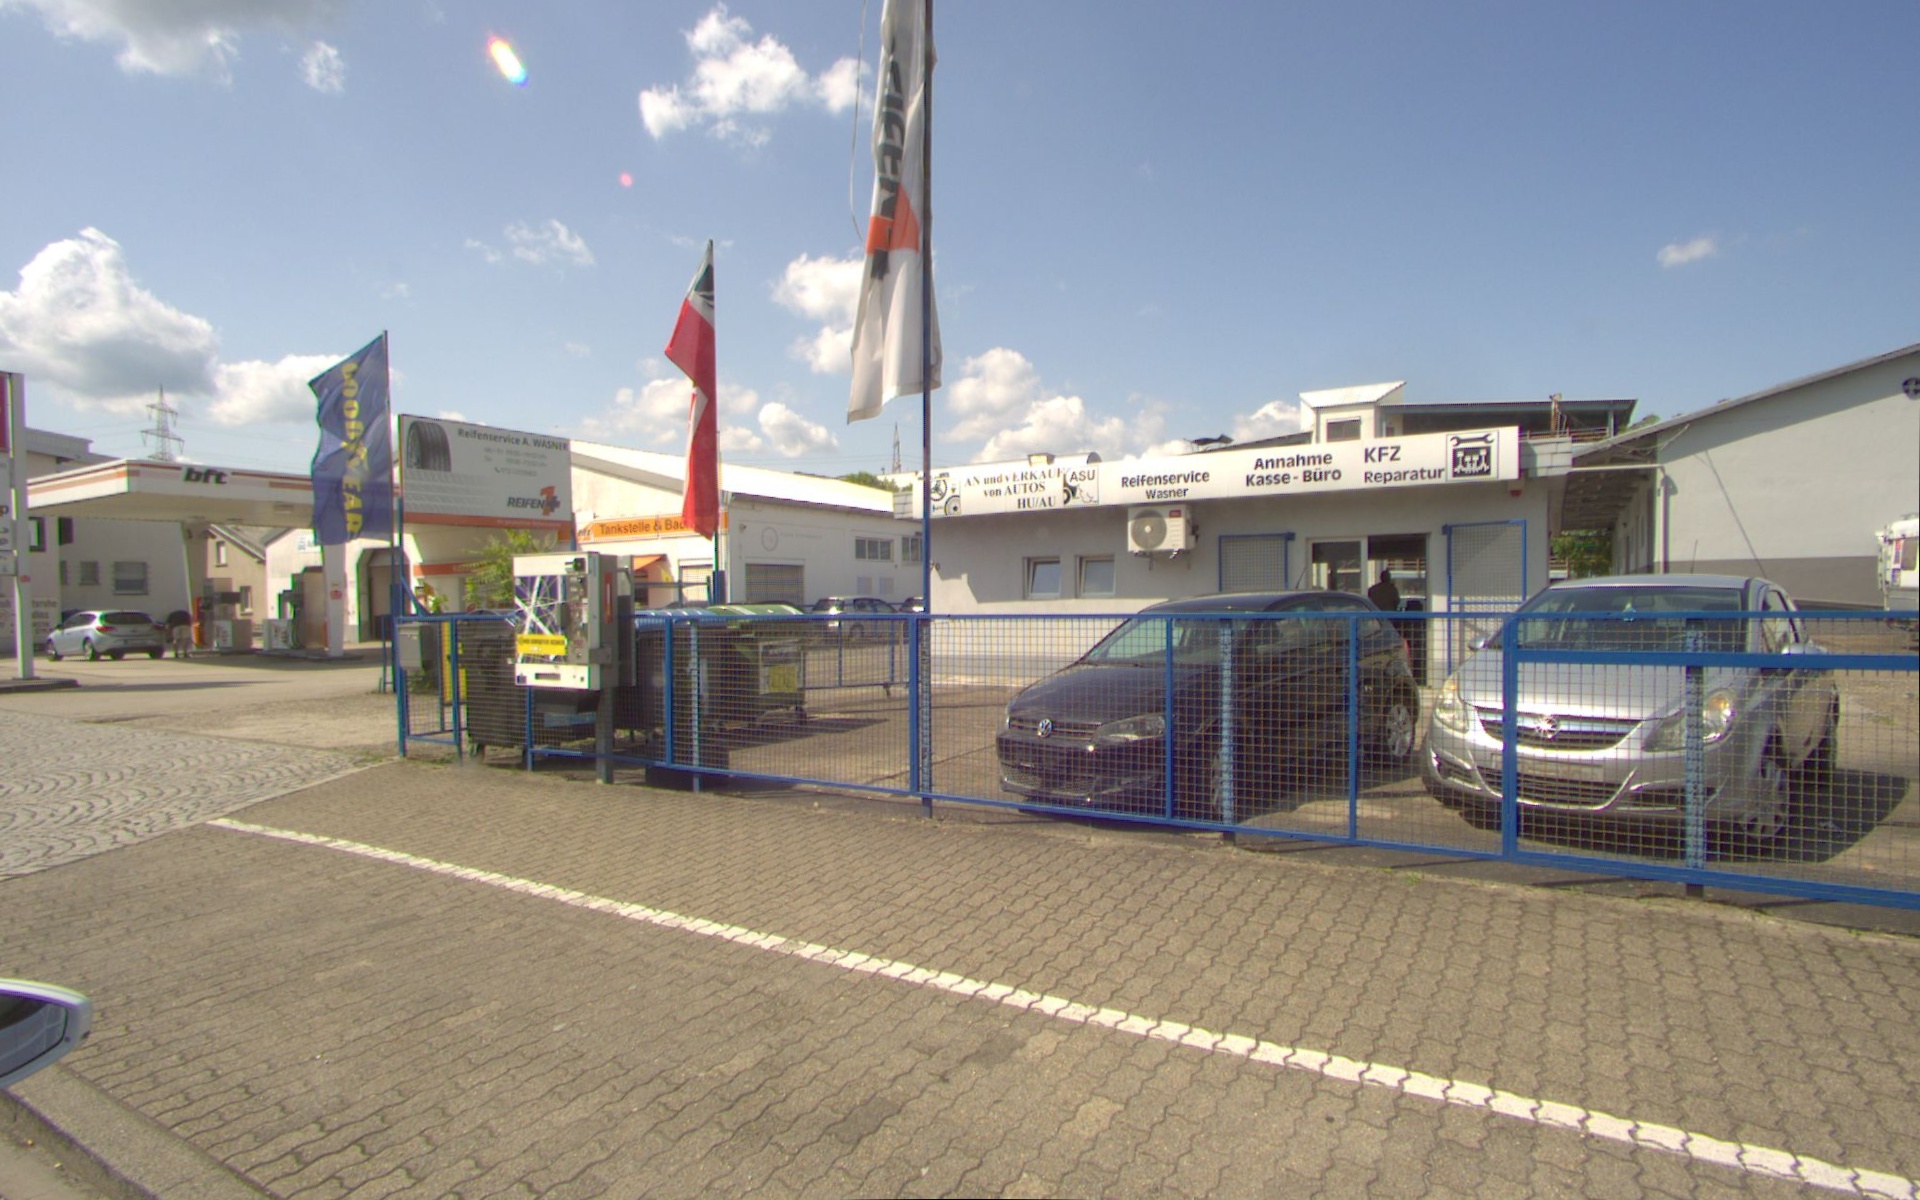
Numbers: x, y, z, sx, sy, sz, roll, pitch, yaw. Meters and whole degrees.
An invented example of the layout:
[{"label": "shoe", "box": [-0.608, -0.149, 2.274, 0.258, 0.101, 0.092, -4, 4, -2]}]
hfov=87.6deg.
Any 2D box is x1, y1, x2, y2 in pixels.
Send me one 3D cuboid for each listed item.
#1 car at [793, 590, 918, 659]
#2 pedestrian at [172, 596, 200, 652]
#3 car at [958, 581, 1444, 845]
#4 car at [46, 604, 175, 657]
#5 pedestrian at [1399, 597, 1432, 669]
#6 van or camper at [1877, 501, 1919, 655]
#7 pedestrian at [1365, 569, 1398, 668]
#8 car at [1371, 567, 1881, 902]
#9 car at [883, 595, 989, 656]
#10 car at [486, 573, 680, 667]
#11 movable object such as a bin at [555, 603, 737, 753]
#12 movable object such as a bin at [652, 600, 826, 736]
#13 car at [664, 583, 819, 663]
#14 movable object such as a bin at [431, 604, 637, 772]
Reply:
[{"label": "car", "box": [-3.262, 0.728, 31.986, 1.971, 2.040, 3.979, 0, 0, 32]}, {"label": "pedestrian", "box": [-23.737, 0.730, 30.714, 0.628, 1.705, 0.618, -1, 1, -36]}, {"label": "car", "box": [2.016, 0.628, 7.647, 3.962, 1.499, 1.705, -1, 1, -43]}, {"label": "car", "box": [-25.832, 0.890, 30.433, 3.950, 1.499, 1.829, -1, 1, 31]}, {"label": "pedestrian", "box": [7.981, 0.562, 17.523, 0.480, 1.229, 0.499, 0, 1, 30]}, {"label": "van or camper", "box": [21.349, -0.459, 19.319, 4.983, 3.002, 2.276, 0, 1, 31]}, {"label": "pedestrian", "box": [7.404, 0.326, 17.585, 0.480, 1.710, 0.499, 0, 1, 30]}, {"label": "car", "box": [4.504, 0.589, 6.510, 4.104, 1.499, 1.787, -1, 0, -42]}, {"label": "car", "box": [-0.802, 0.862, 35.875, 1.971, 2.040, 3.979, 0, 0, 32]}, {"label": "car", "box": [-8.911, 0.436, 23.980, 1.971, 2.040, 3.979, 0, 0, 32]}, {"label": "movable object such as a bin", "box": [-3.369, 0.777, 10.783, 1.434, 1.473, 1.224, 0, 1, 31]}, {"label": "movable object such as a bin", "box": [-2.604, 0.744, 11.898, 1.433, 1.473, 1.427, 0, 1, 31]}, {"label": "car", "box": [-5.945, 0.571, 27.635, 1.971, 2.040, 3.979, 0, 0, 32]}, {"label": "movable object such as a bin", "box": [-4.130, 0.785, 9.744, 1.434, 1.473, 1.224, 0, 1, 31]}]
